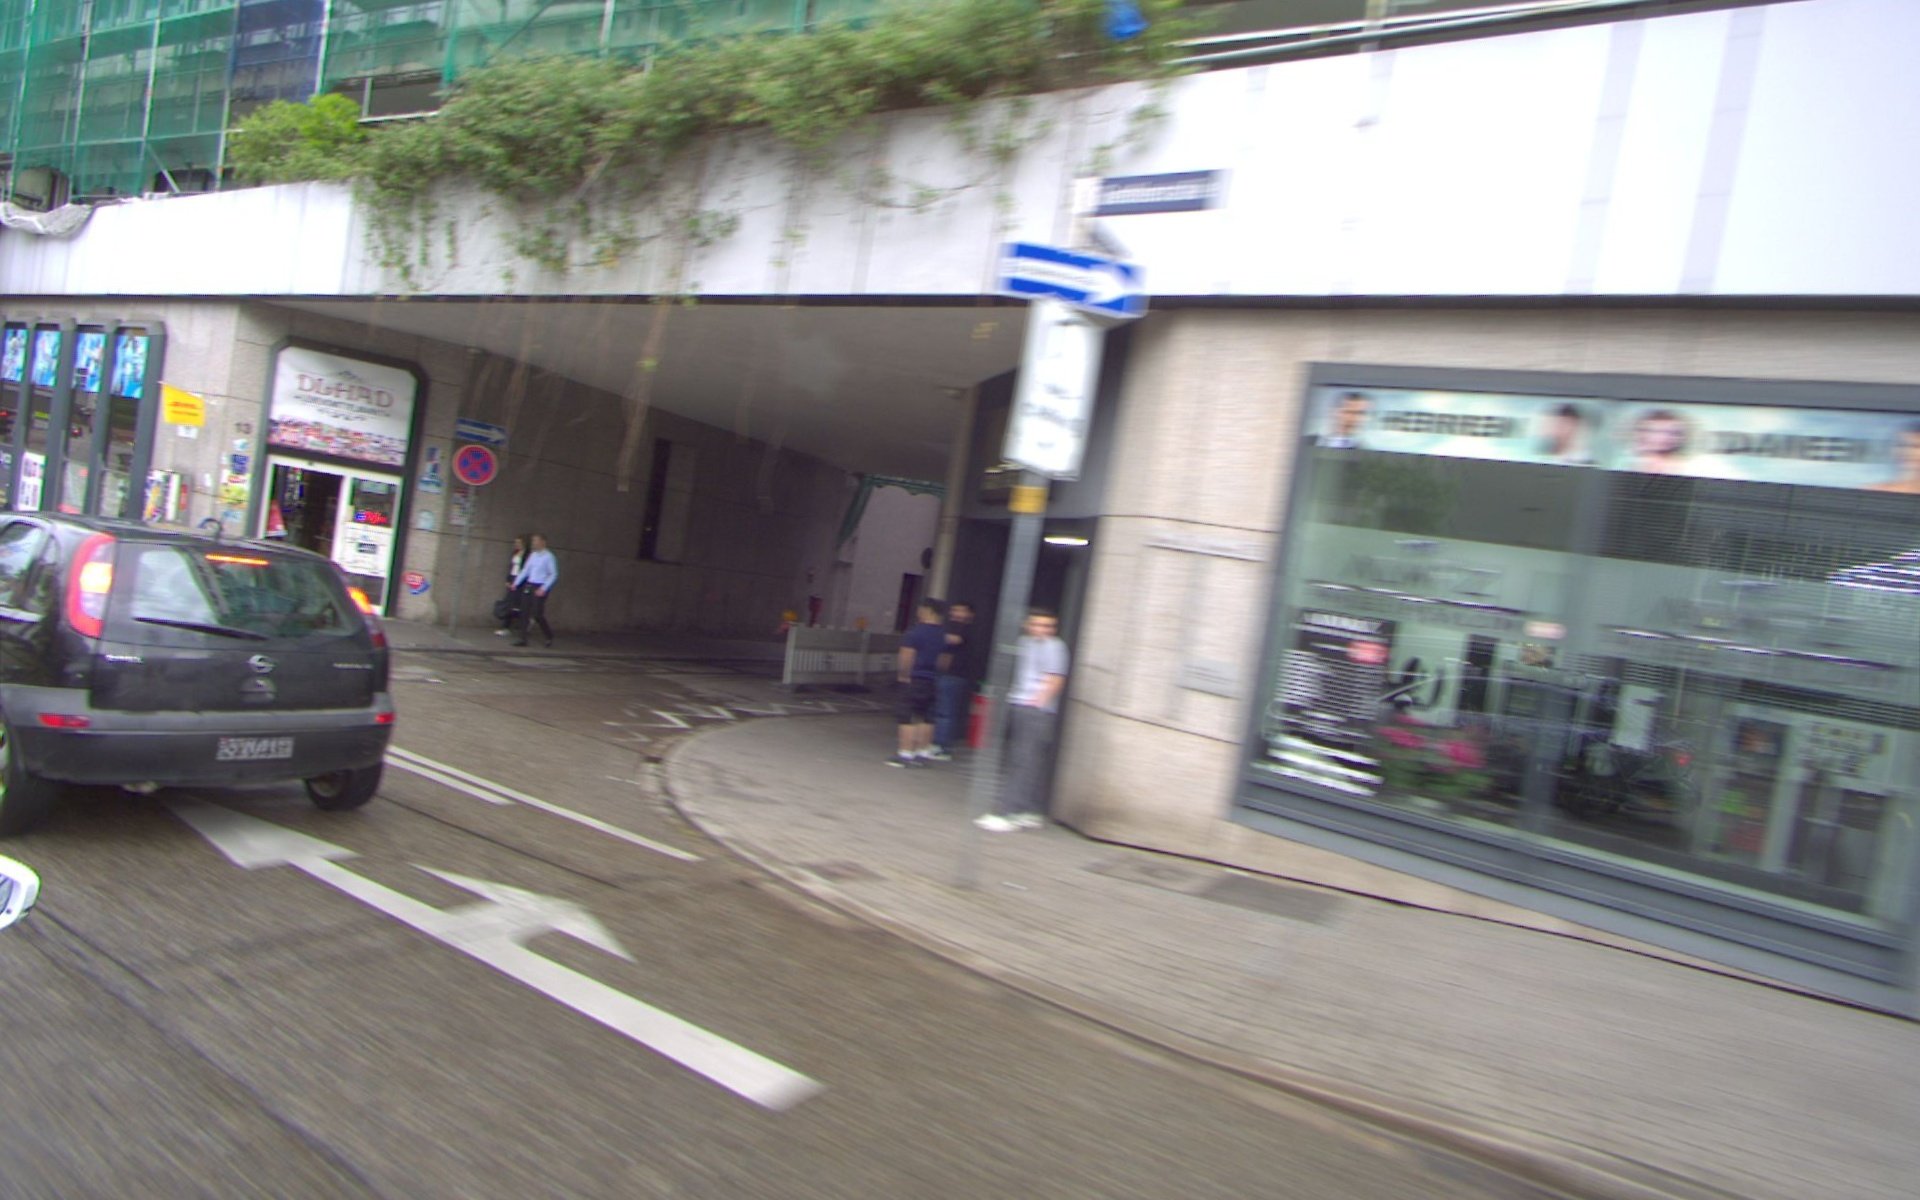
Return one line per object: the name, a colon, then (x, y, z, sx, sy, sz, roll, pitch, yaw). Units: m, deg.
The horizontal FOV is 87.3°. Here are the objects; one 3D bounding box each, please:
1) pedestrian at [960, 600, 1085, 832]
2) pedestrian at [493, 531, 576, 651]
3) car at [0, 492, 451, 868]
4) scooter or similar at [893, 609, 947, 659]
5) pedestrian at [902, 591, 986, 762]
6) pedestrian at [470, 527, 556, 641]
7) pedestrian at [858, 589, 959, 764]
pedestrian: (0.466, 0.870, 7.698, 0.633, 1.671, 0.560, 5, 2, -18)
pedestrian: (-6.976, -0.140, 16.492, 0.824, 1.802, 0.616, 14, 5, 27)
car: (-4.828, 0.206, 5.664, 3.707, 1.437, 1.719, 7, 0, 32)
scooter or similar: (-1.116, 0.985, 28.437, 0.419, 1.276, 1.631, 14, 4, 35)
pedestrian: (-0.182, 0.818, 10.987, 0.507, 1.757, 0.635, 7, 2, -21)
pedestrian: (-7.602, -0.268, 17.109, 0.756, 1.743, 0.719, 15, 4, 27)
pedestrian: (-0.527, 0.777, 10.295, 0.596, 1.683, 0.568, 7, 2, -38)
